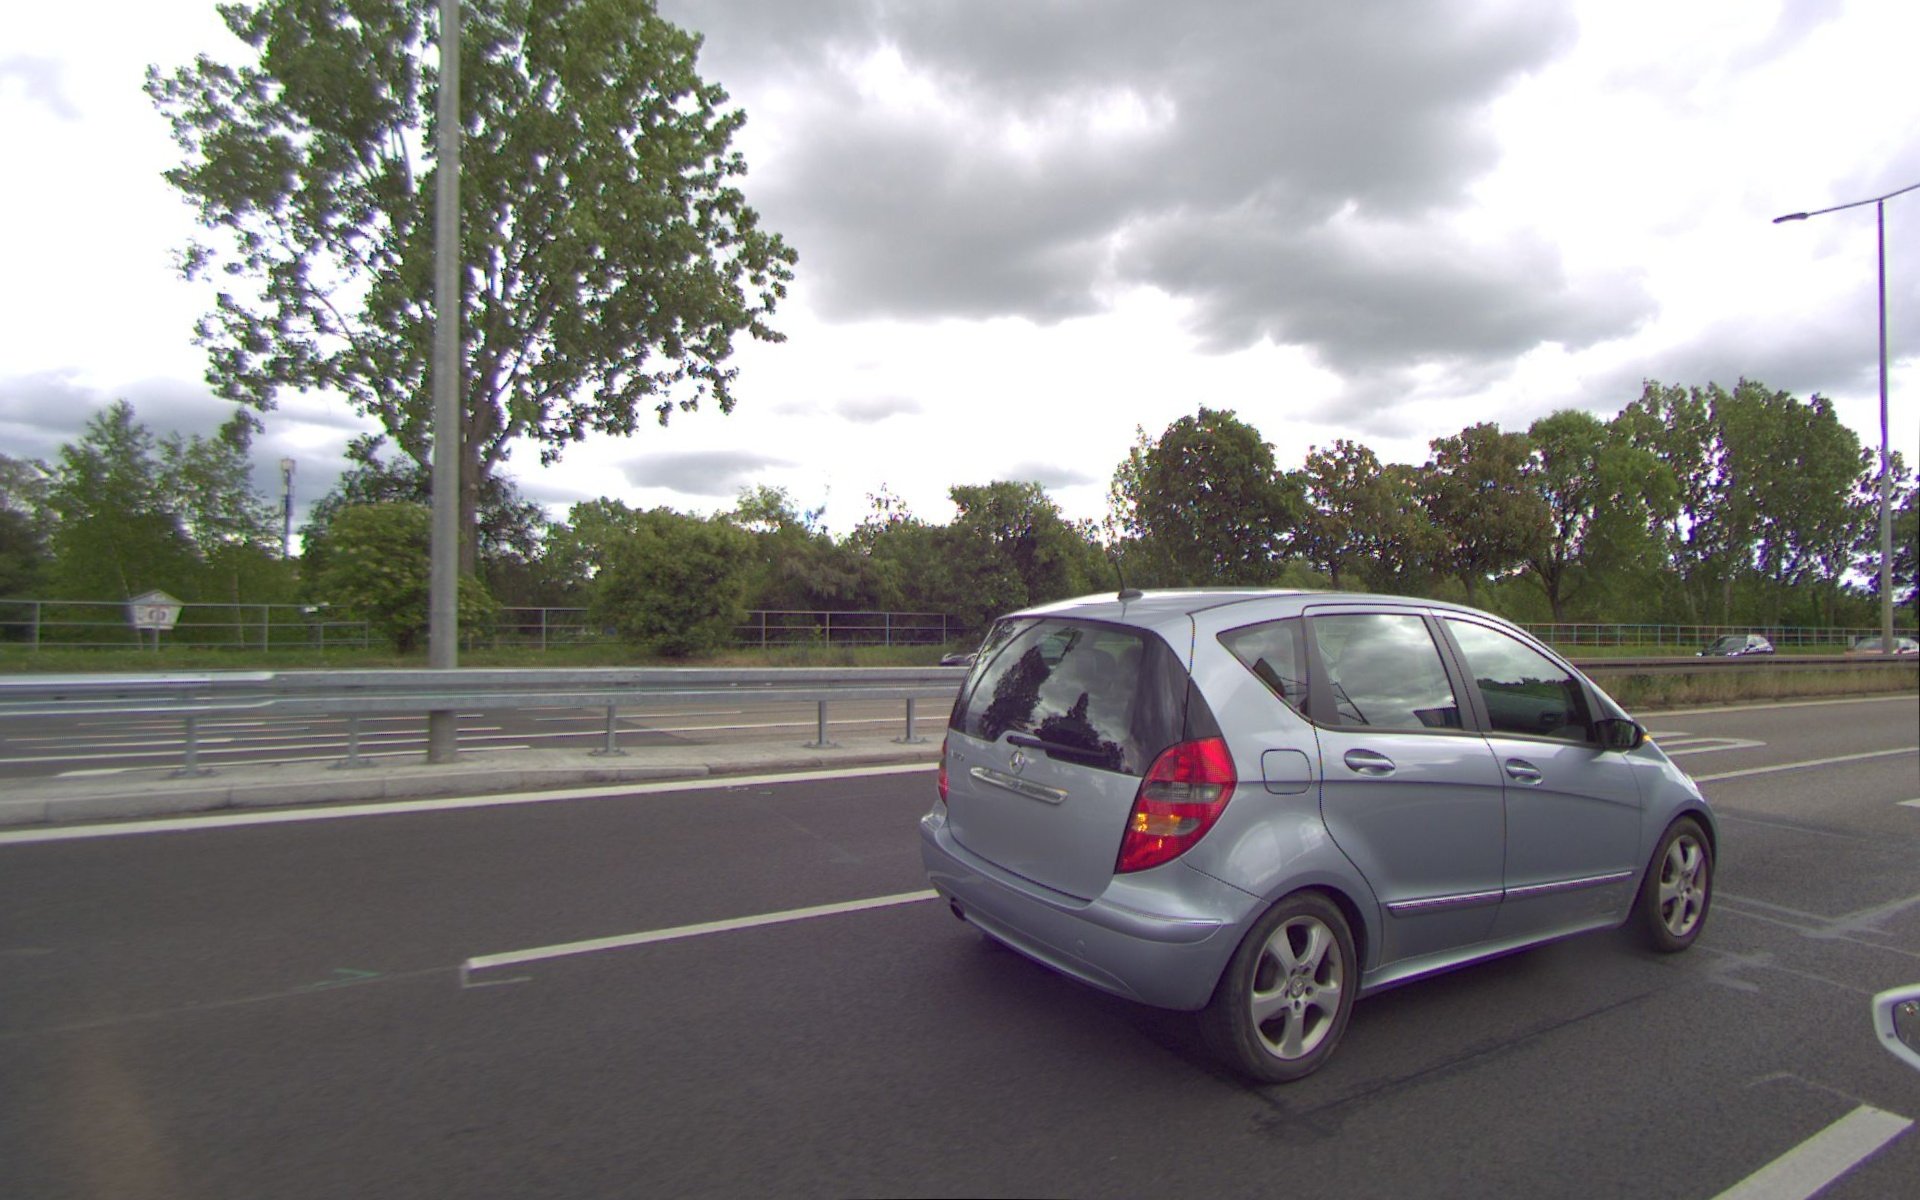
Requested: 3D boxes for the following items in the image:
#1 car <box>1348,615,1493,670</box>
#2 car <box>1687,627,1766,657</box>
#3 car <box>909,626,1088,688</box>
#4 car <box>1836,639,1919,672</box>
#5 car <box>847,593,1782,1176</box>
[{"bbox_3d":[13.023,1.149,28.343,4.019,1.437,1.768,1,-1,-30],"label":"car"},{"bbox_3d":[35.934,1.938,47.074,4.013,1.316,1.571,1,-1,-30],"label":"car"},{"bbox_3d":[1.026,1.408,25.916,4.320,1.437,1.915,1,-1,-32],"label":"car"},{"bbox_3d":[35.418,2.099,38.527,4.019,1.120,1.538,1,-1,-30],"label":"car"},{"bbox_3d":[1.738,0.791,4.570,4.099,1.559,1.869,1,-1,-31],"label":"car"}]
